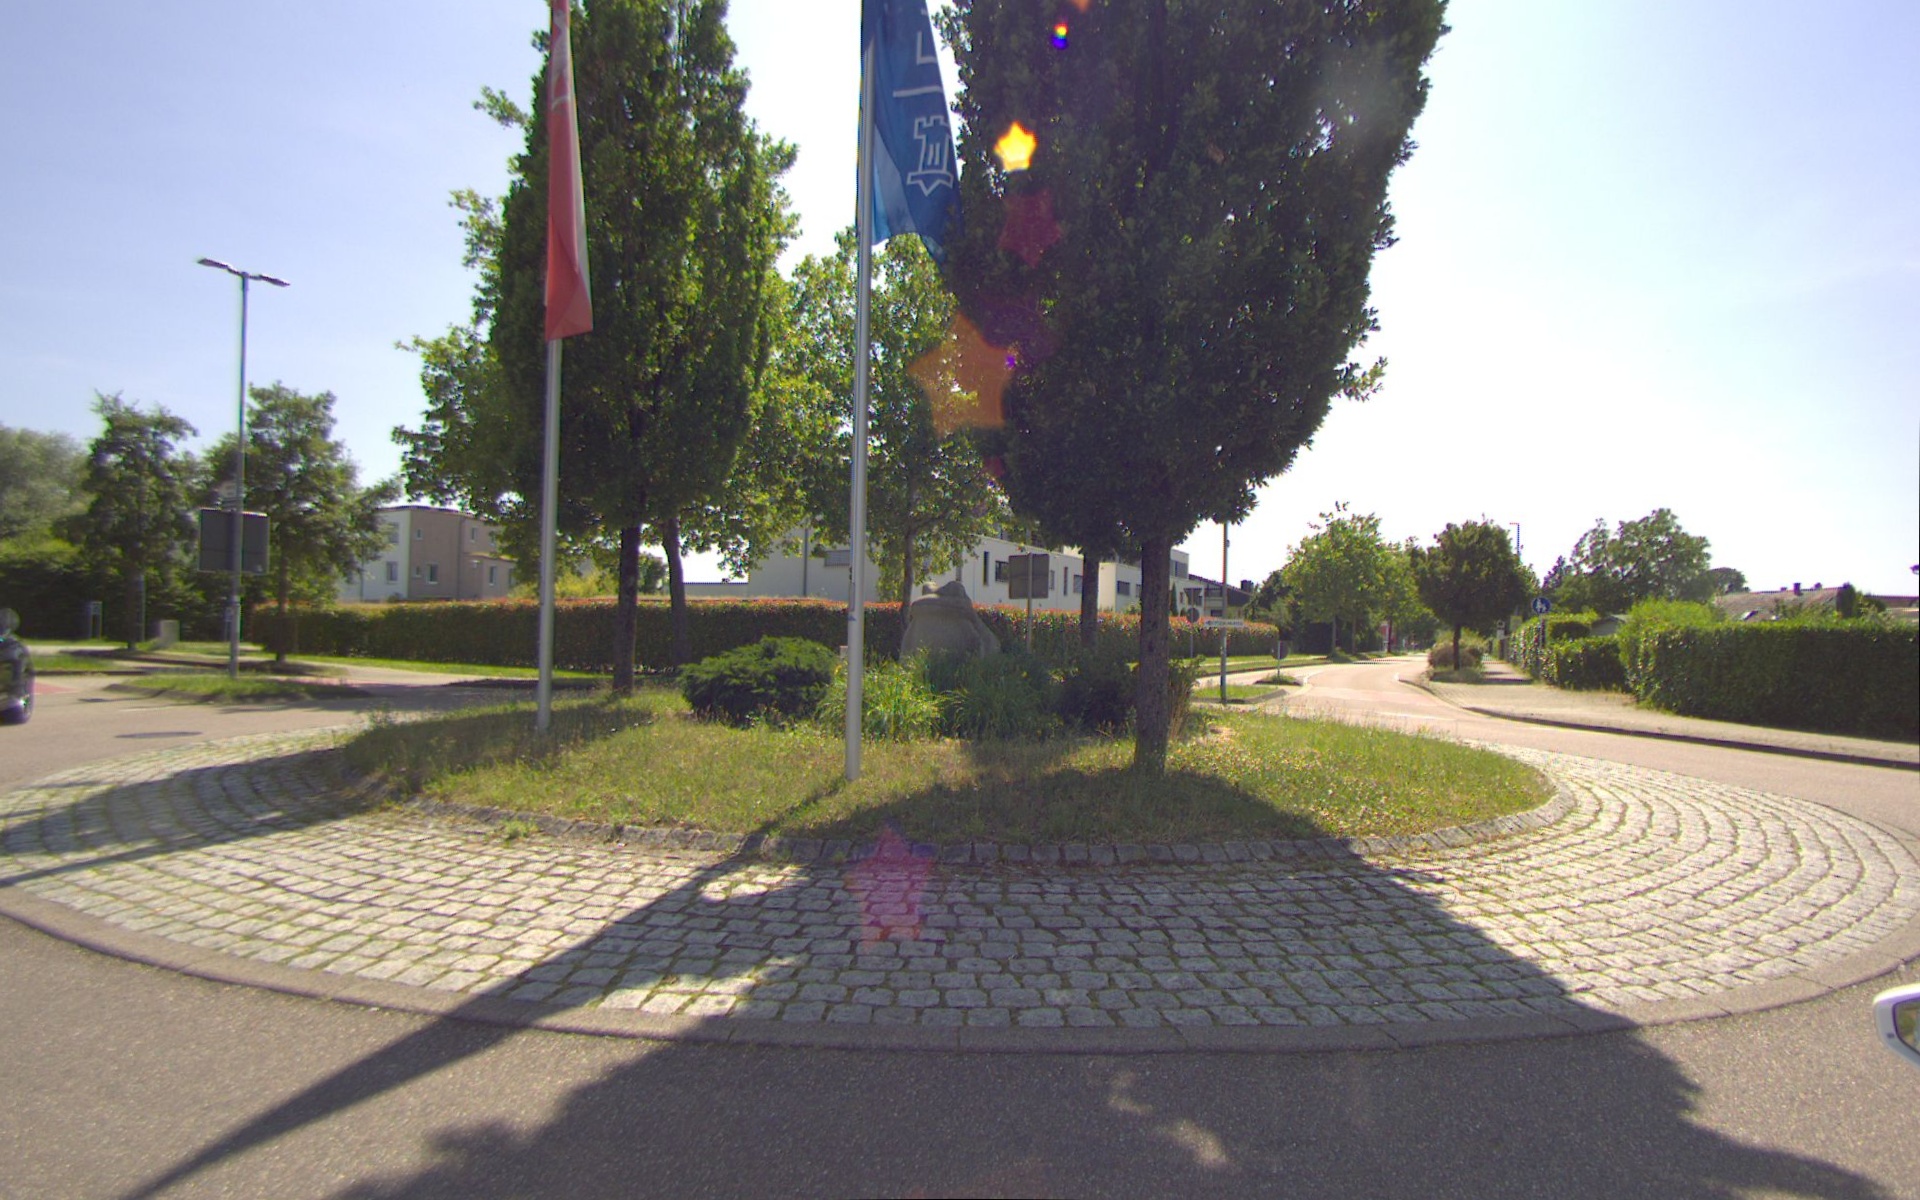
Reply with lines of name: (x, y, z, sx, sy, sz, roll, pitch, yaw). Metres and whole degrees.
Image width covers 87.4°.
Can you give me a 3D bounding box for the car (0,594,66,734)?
car: (-12.015, 0.715, 11.492, 1.845, 1.589, 4.449, 2, -2, -31)
